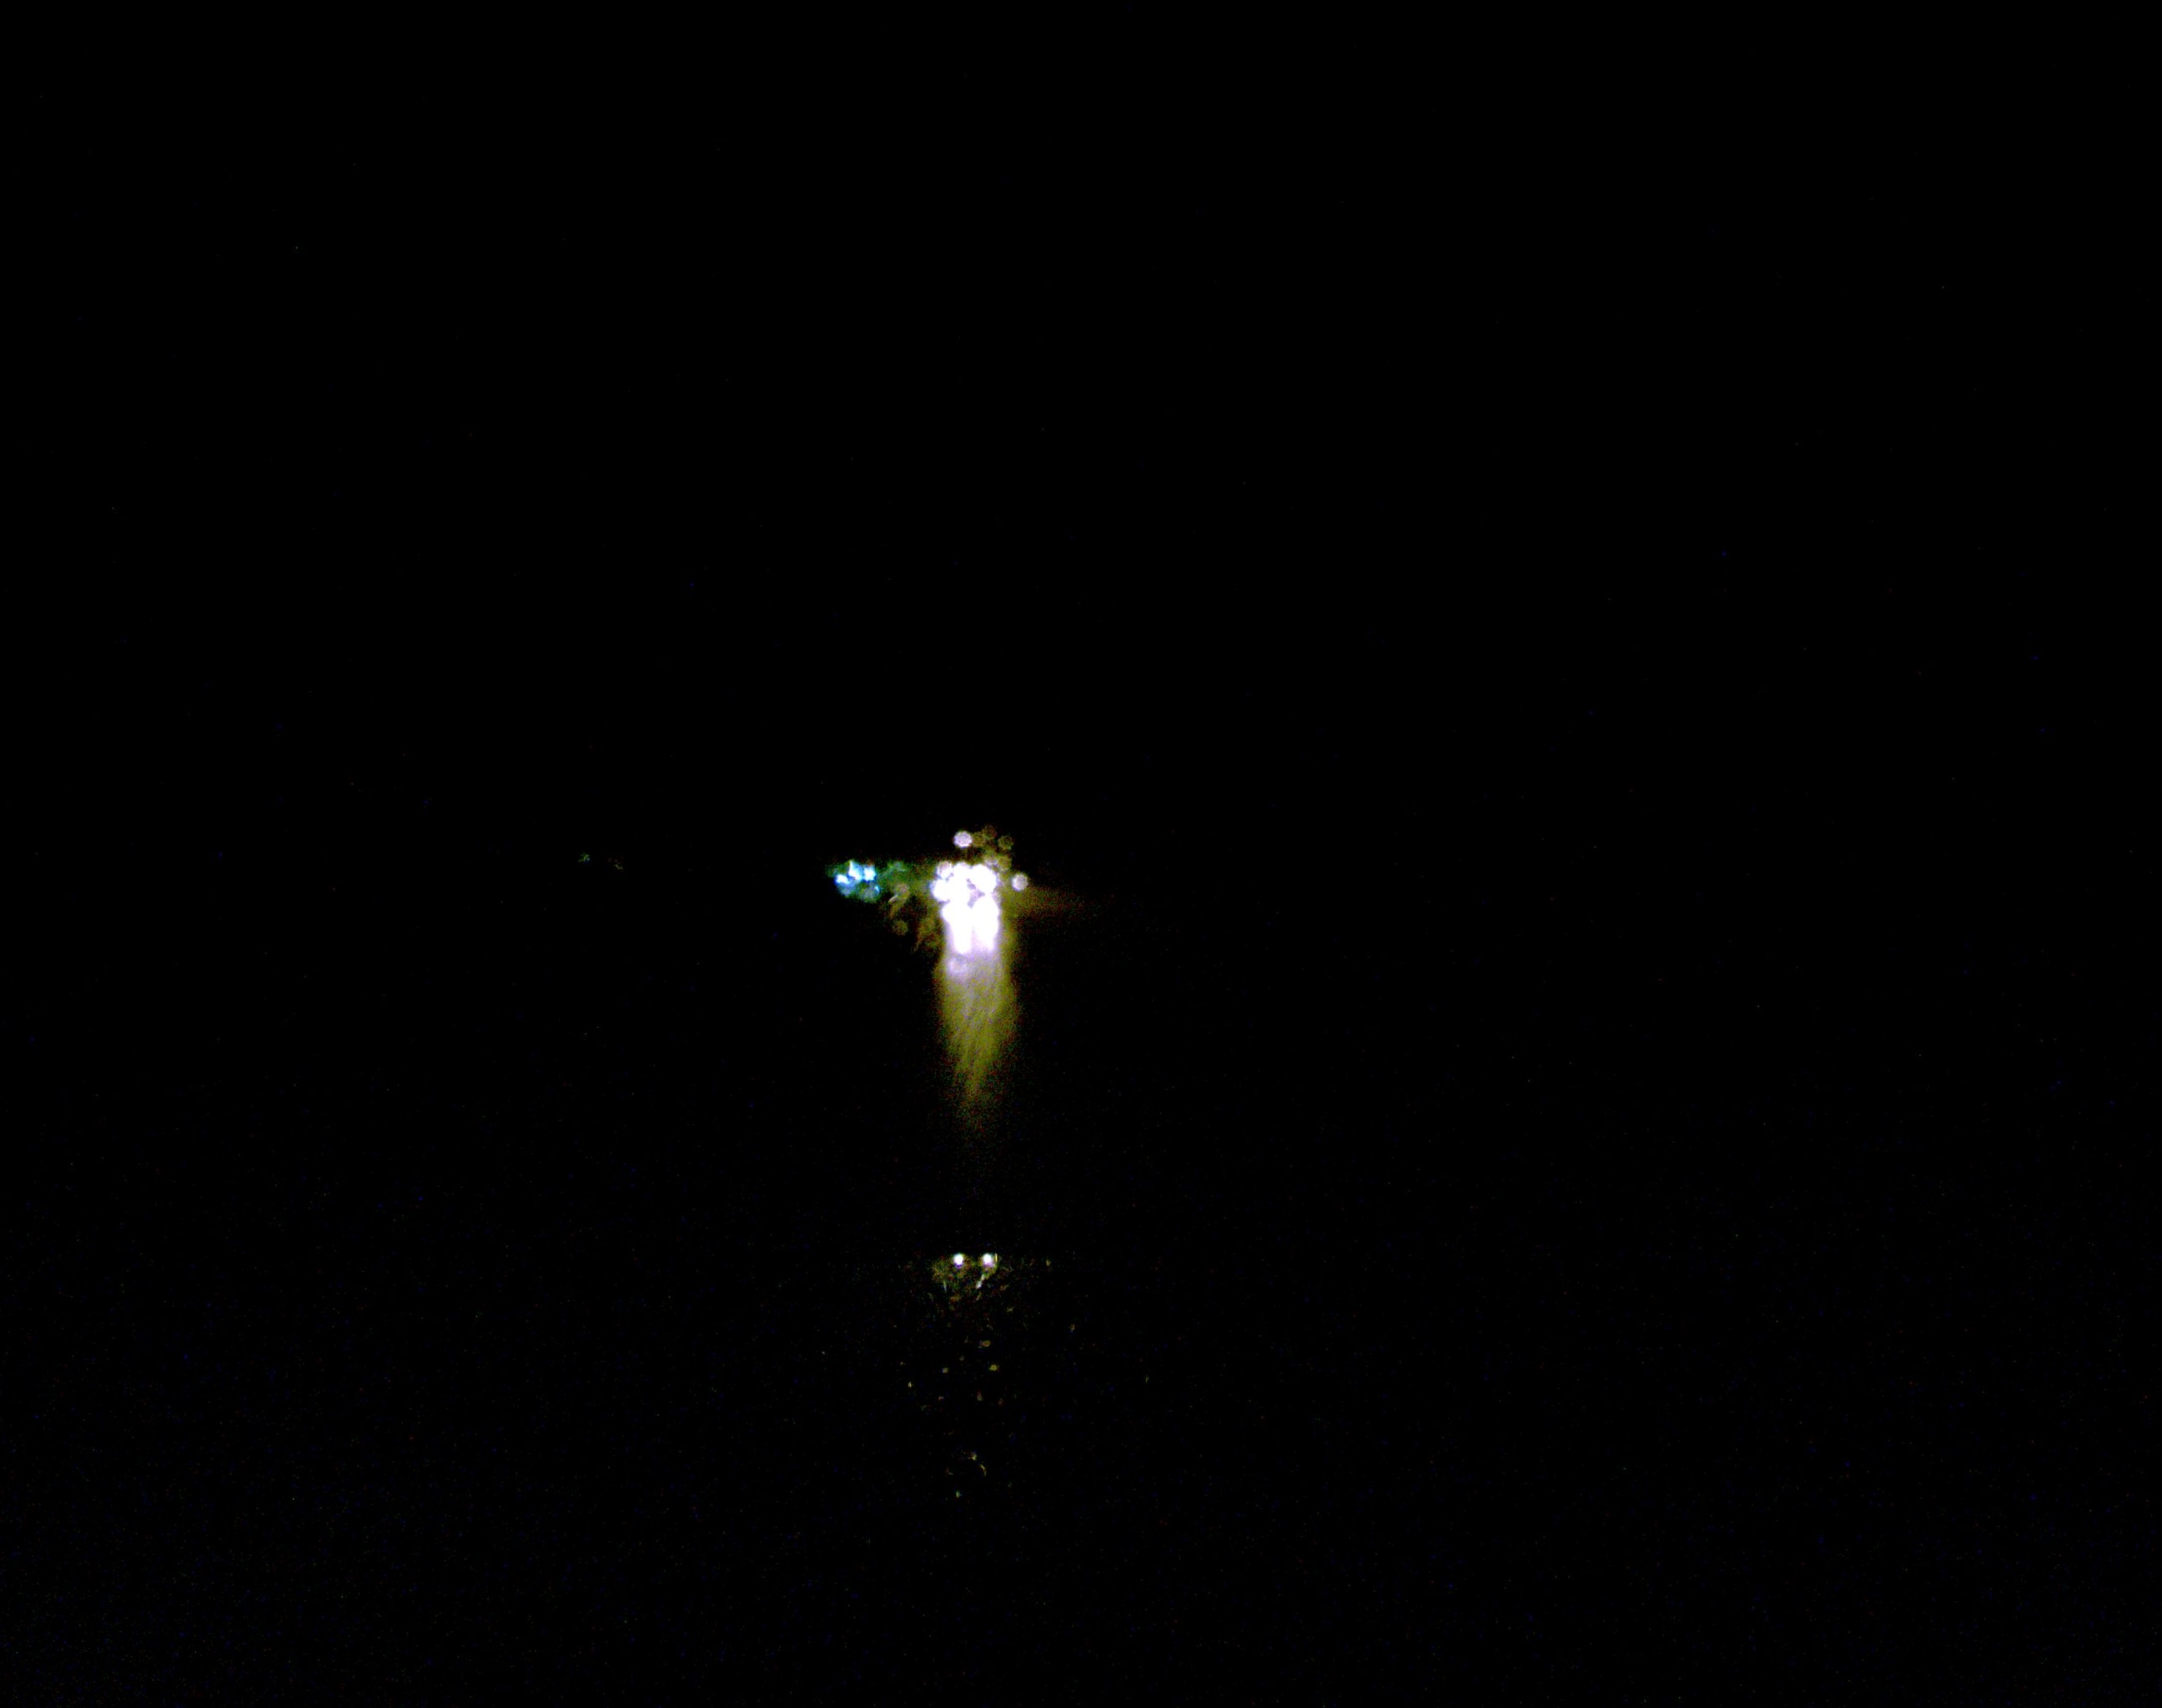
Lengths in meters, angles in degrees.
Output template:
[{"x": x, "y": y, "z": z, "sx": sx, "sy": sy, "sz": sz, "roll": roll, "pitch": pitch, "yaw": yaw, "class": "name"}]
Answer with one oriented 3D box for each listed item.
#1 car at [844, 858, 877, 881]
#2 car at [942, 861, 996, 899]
[{"x": -16.207, "y": 1.125, "z": 55.654, "sx": 1.852, "sy": 1.440, "sz": 3.869, "roll": -4, "pitch": -1, "yaw": -22, "class": "car"}, {"x": -4.941, "y": 1.070, "z": 33.023, "sx": 1.851, "sy": 1.441, "sz": 3.995, "roll": -2, "pitch": 1, "yaw": -14, "class": "car"}]
